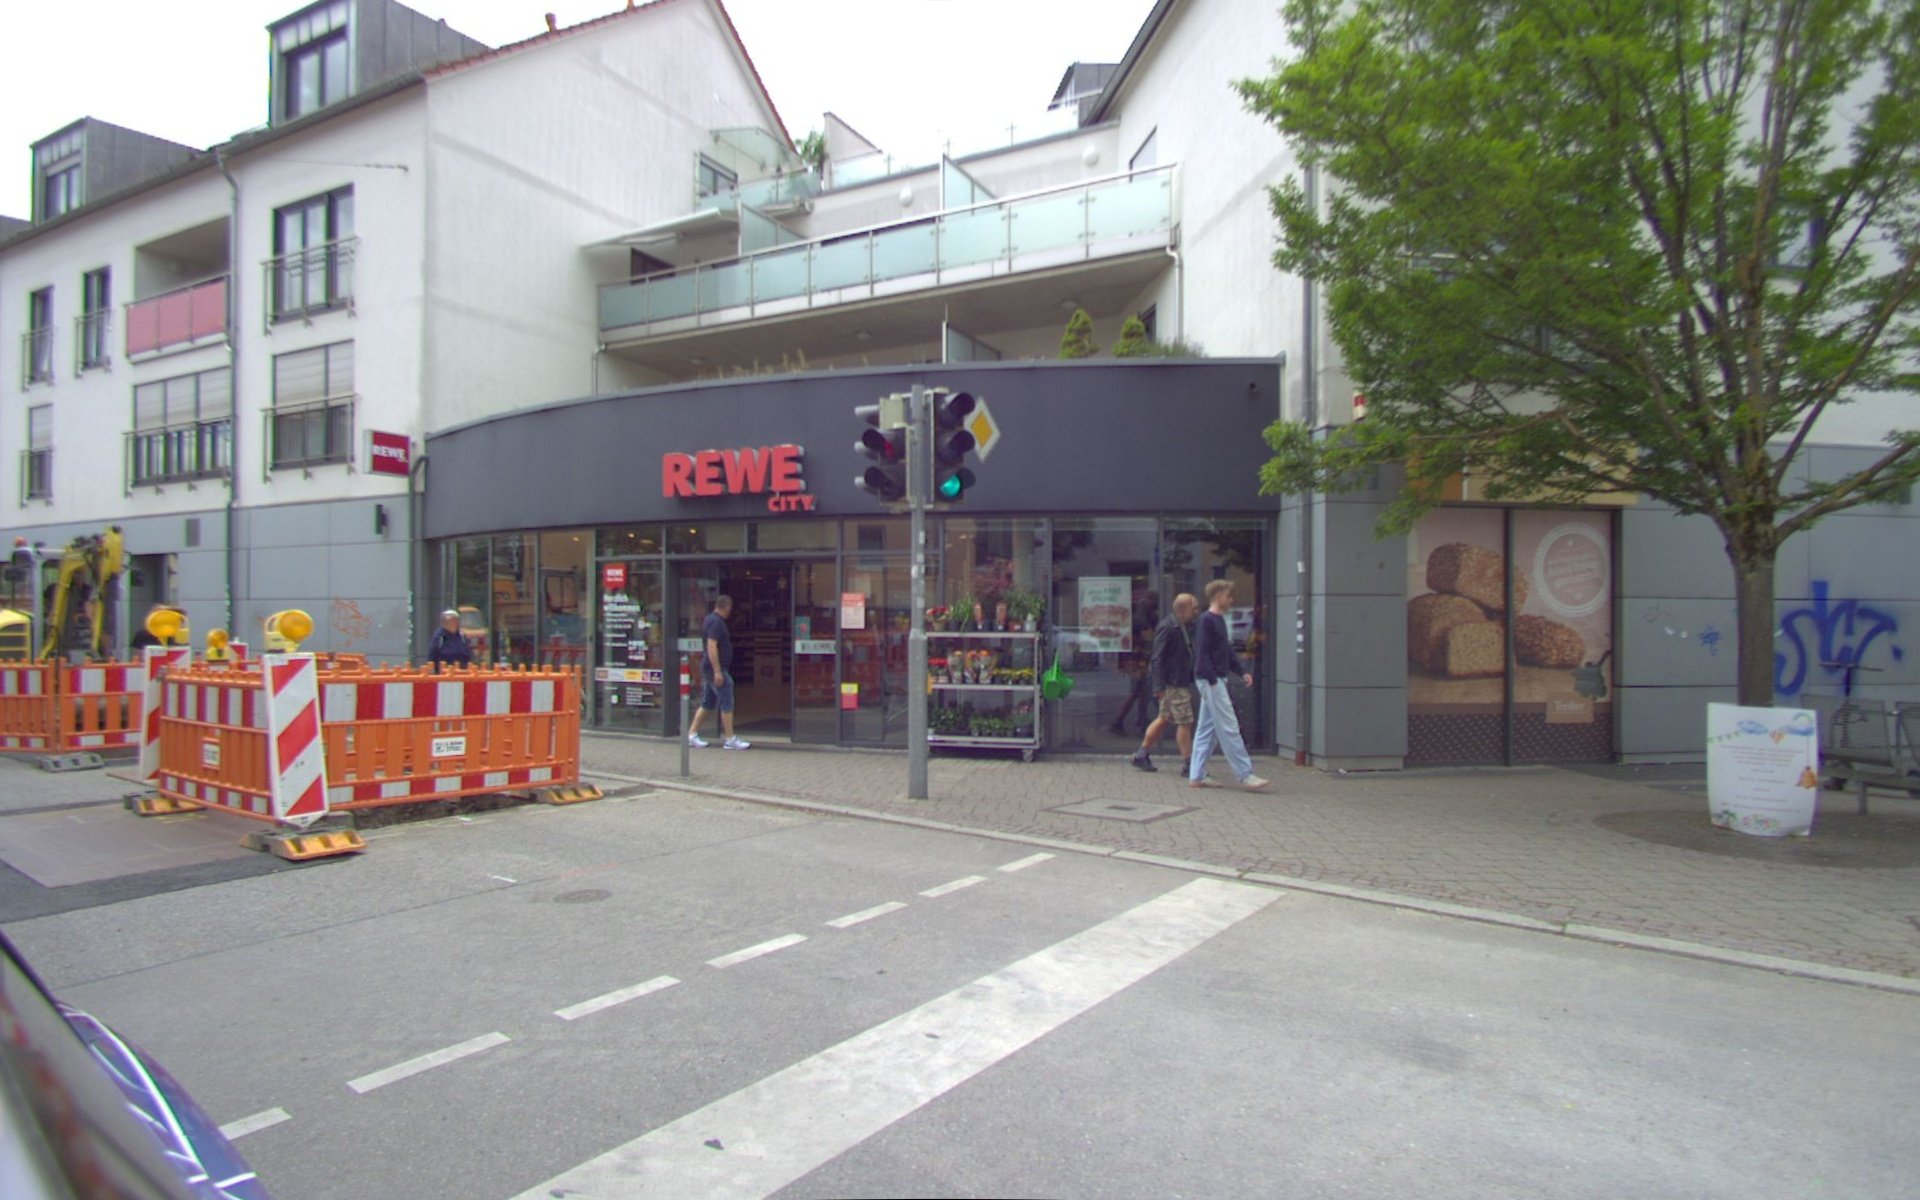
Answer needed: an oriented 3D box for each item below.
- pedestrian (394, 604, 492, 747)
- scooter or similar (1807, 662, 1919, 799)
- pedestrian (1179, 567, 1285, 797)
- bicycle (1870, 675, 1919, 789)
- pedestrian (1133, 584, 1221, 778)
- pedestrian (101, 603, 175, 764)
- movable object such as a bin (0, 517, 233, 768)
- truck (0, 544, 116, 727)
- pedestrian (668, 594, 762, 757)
[{"bbox_3d":[-6.532,0.930,12.796,0.814,1.726,0.824,-2,-2,36],"label":"pedestrian"},{"bbox_3d":[8.494,1.142,8.894,0.587,1.132,1.536,0,-2,-12],"label":"scooter or similar"},{"bbox_3d":[2.400,0.706,9.035,0.775,1.940,0.815,-1,-1,9],"label":"pedestrian"},{"bbox_3d":[9.264,1.177,8.951,0.522,1.054,1.749,0,-5,-13],"label":"bicycle"},{"bbox_3d":[2.093,0.768,9.825,0.709,1.804,0.693,-1,-1,5],"label":"pedestrian"},{"bbox_3d":[-9.266,0.917,11.414,0.442,1.757,0.533,-2,-2,34],"label":"pedestrian"},{"bbox_3d":[-11.583,0.501,13.212,4.491,2.784,1.825,0,-1,32],"label":"movable object such as a bin"},{"bbox_3d":[-17.289,0.640,16.979,6.822,2.746,2.712,-2,-2,31],"label":"truck"},{"bbox_3d":[-2.928,0.875,12.109,0.787,1.858,0.746,-2,-2,34],"label":"pedestrian"}]
